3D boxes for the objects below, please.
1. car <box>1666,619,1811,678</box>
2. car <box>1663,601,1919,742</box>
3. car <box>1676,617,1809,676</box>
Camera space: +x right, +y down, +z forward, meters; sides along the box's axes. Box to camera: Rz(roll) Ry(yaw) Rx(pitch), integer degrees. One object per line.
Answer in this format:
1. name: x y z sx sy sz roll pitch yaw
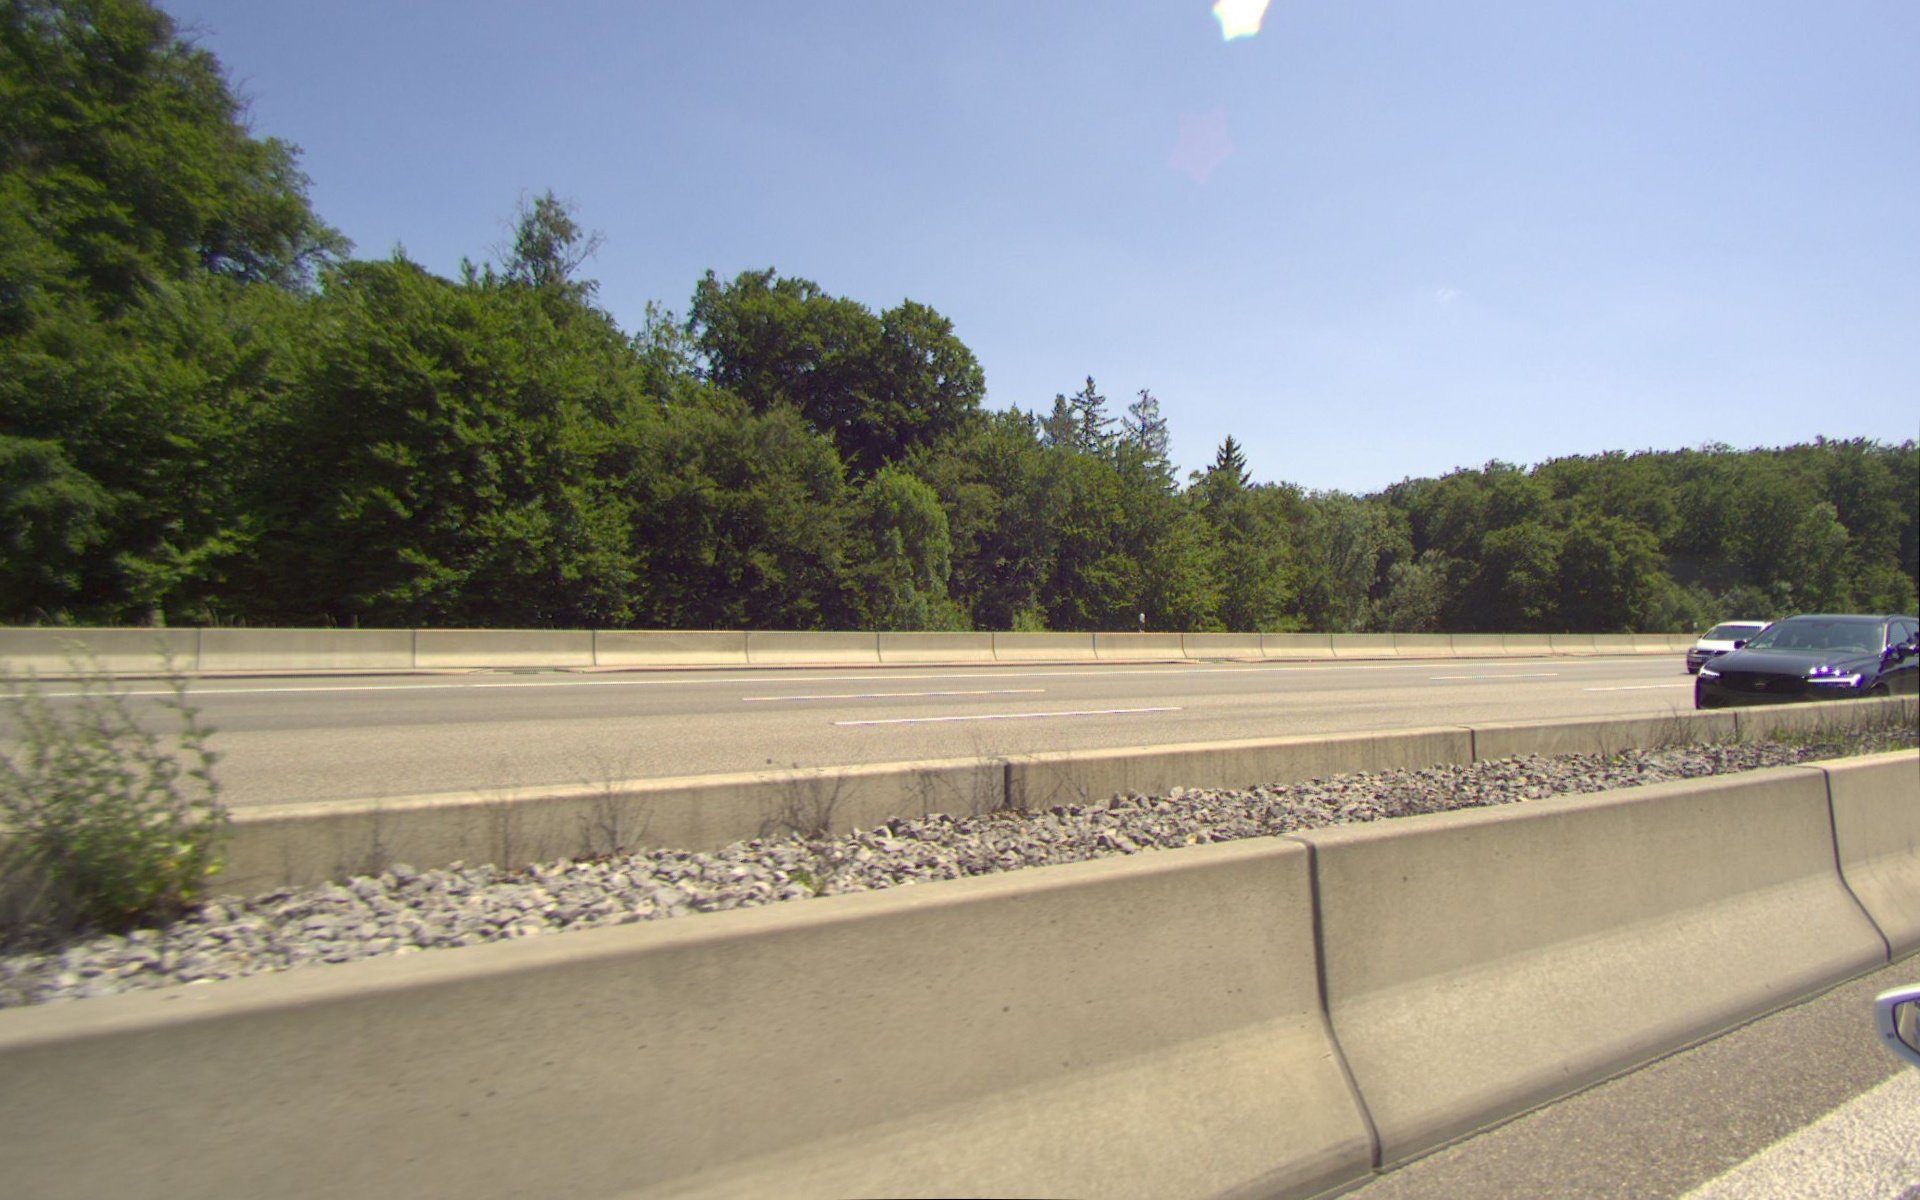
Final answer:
1. car: 23.096 1.384 29.781 4.328 1.552 1.983 1 1 -31
2. car: 12.007 0.905 14.032 4.383 1.690 1.983 1 -1 -31
3. car: 23.263 1.366 29.844 4.232 1.626 1.709 1 -1 -31
